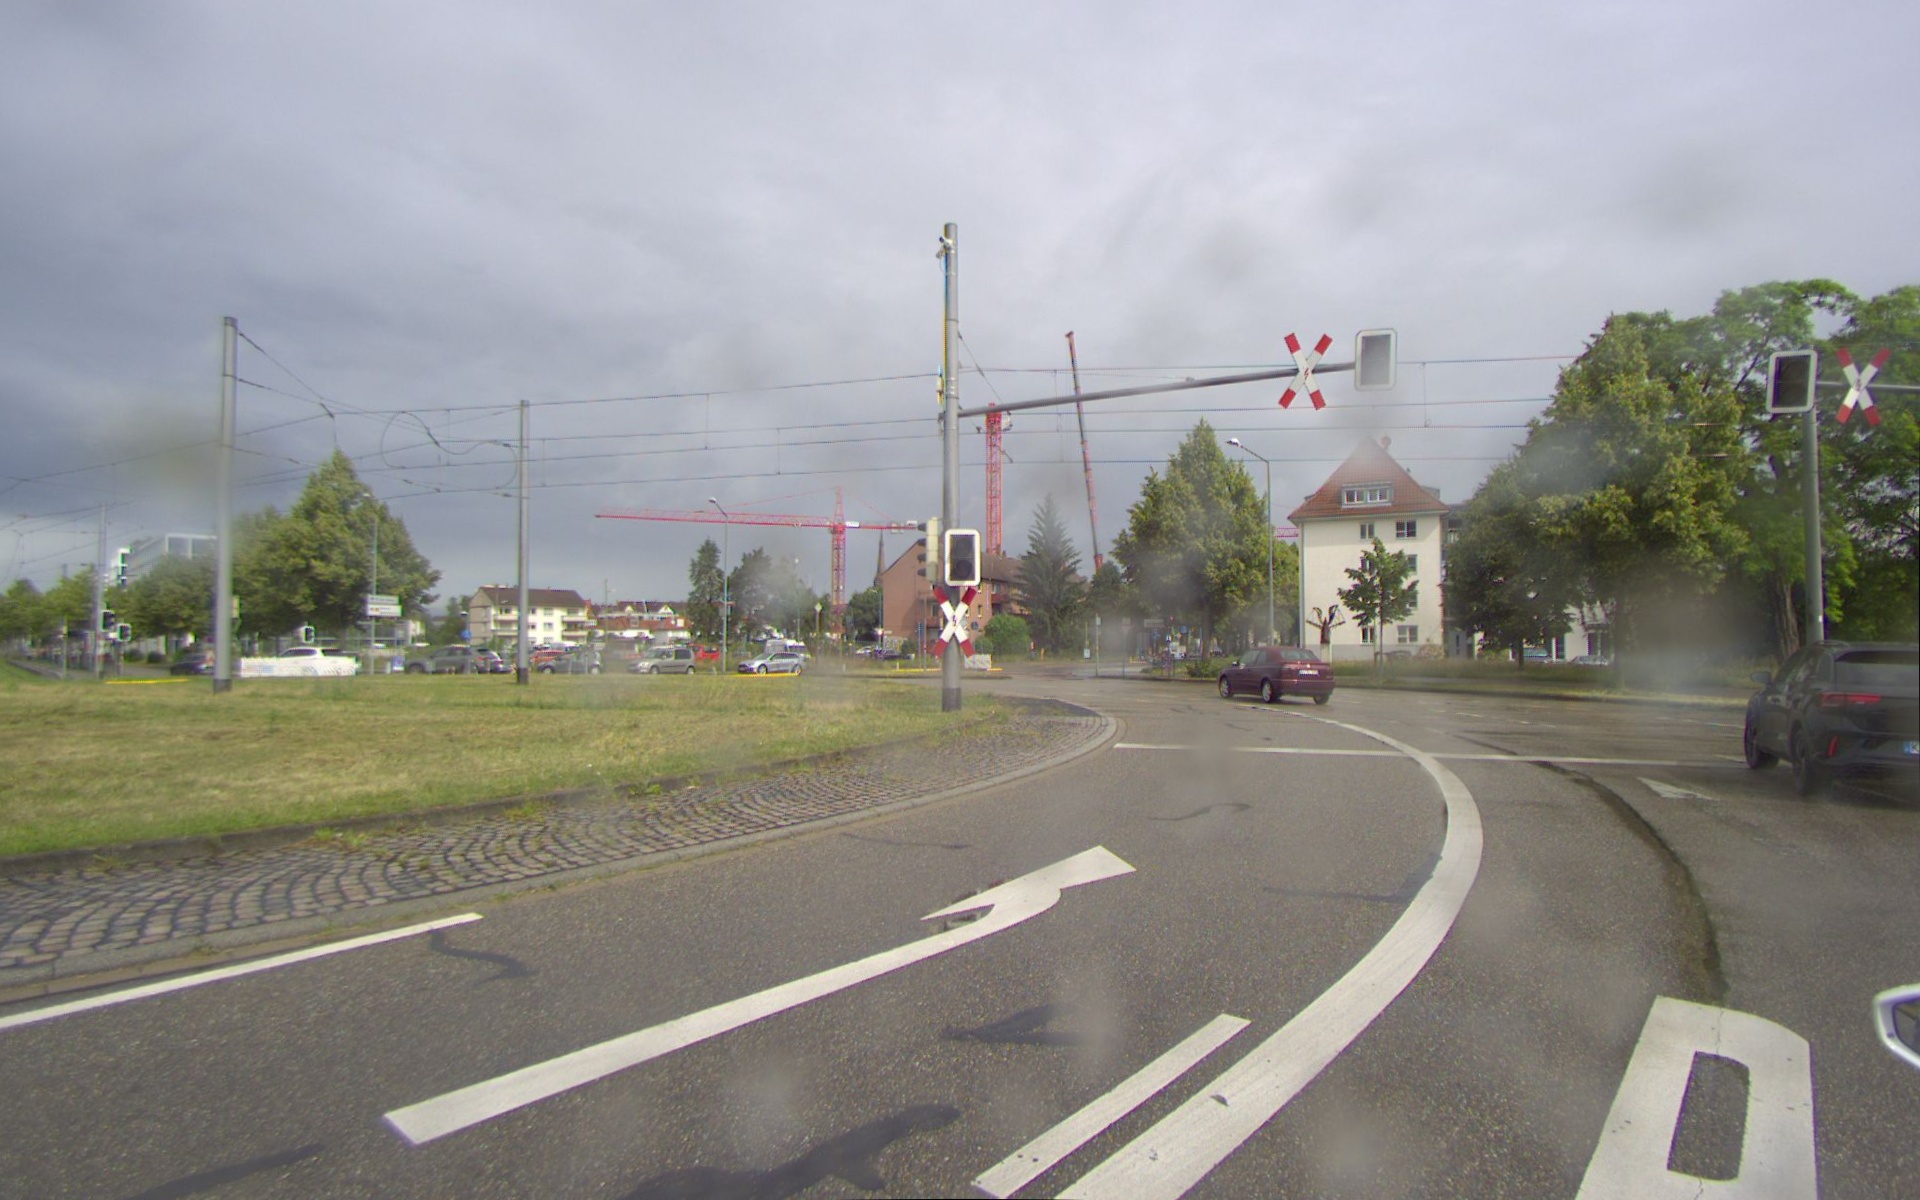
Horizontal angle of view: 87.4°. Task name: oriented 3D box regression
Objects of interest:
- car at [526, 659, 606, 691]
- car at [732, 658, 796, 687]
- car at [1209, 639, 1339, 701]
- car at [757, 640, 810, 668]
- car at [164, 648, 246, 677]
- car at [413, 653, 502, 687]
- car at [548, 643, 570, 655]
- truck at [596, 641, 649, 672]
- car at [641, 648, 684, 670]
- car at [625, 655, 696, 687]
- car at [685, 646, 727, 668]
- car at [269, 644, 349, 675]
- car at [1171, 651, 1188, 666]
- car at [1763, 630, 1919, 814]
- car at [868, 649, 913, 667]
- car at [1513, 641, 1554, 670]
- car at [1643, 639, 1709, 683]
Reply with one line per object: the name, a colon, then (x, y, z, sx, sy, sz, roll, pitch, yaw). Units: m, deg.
car: (-21.270, 4.064, 54.406, 3.937, 1.606, 1.791, 0, -2, -19)
car: (-11.780, 4.340, 60.598, 3.526, 1.581, 1.579, 2, -3, -44)
car: (8.206, 1.812, 26.644, 1.689, 1.481, 3.995, -1, -2, -9)
car: (-15.335, 4.625, 87.030, 2.023, 2.112, 6.204, 2, -1, -35)
car: (-41.775, 3.464, 55.556, 3.922, 1.537, 1.803, -1, -2, 21)
car: (-24.945, 3.463, 49.951, 3.605, 1.581, 1.574, 0, -2, 1)
car: (-52.285, 6.402, 130.989, 1.540, 1.581, 3.455, 1, -3, -44)
truck: (-27.319, 4.508, 81.280, 2.374, 2.241, 6.039, 2, -1, -36)
car: (-25.678, 5.049, 86.657, 1.846, 1.722, 3.947, 3, -2, -45)
car: (-16.169, 3.815, 54.296, 1.525, 1.581, 3.487, -1, -3, 37)
car: (-21.741, 4.874, 86.041, 1.915, 1.722, 3.953, 2, -1, -40)
car: (-33.345, 3.013, 51.469, 3.429, 1.530, 1.501, -1, -2, 15)
car: (23.602, 6.277, 108.038, 1.519, 1.473, 3.502, -1, -2, 17)
car: (9.850, 1.223, 10.720, 1.873, 1.639, 3.986, 0, -3, 37)
car: (-6.559, 5.453, 95.000, 4.014, 1.654, 1.603, 2, -3, -33)
car: (36.223, 3.484, 63.542, 1.817, 1.573, 4.103, -1, -1, 24)
car: (36.328, 3.065, 51.100, 2.075, 2.084, 5.153, -2, -3, 29)
